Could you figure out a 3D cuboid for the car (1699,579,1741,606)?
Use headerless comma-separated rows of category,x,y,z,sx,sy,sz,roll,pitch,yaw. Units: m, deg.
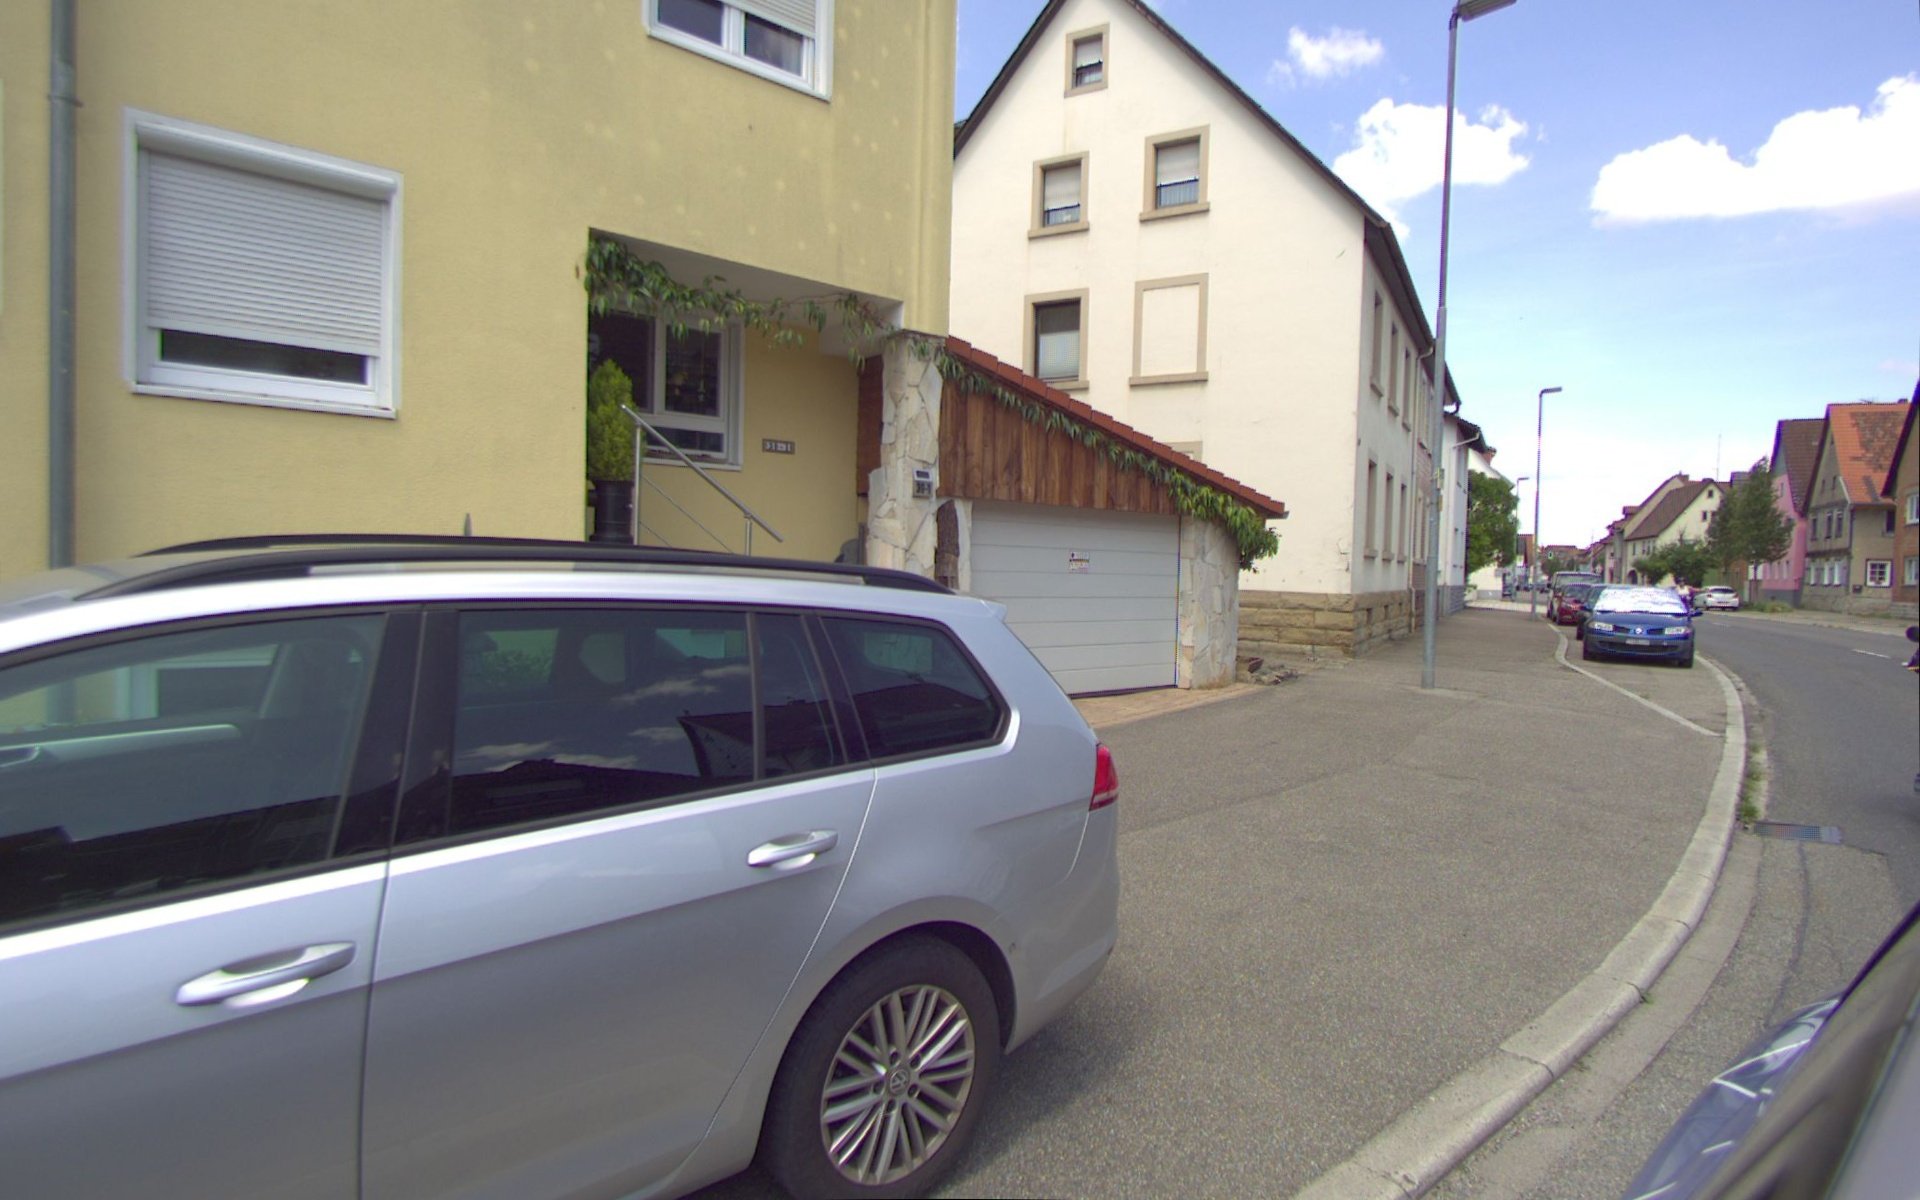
car,46.113,-0.476,61.424,1.671,1.549,3.461,0,2,31

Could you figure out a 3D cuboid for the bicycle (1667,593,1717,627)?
bicycle,23.148,0.322,31.996,1.892,1.024,0.932,1,0,-44

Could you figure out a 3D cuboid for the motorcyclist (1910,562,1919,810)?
motorcyclist,6.832,0.562,6.415,0.784,1.619,1.002,-2,2,-31

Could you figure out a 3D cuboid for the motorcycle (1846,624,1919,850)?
motorcycle,6.431,0.790,6.165,2.062,1.257,0.986,0,0,-32

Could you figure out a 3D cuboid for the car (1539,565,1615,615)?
car,21.967,-0.372,36.157,1.646,1.668,3.971,0,1,22

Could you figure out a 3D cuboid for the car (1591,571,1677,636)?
car,17.770,0.101,26.811,1.761,1.549,3.953,2,0,32

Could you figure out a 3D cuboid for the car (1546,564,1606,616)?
car,25.053,-0.454,41.295,1.915,1.939,5.193,0,2,29

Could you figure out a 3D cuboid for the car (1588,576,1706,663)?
car,13.515,0.298,19.867,1.718,1.402,3.950,3,4,36

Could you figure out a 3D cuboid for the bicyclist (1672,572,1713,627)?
bicyclist,23.153,-0.033,31.996,0.748,1.709,0.908,-2,2,-42

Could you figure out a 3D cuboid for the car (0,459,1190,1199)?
car,-1.642,0.526,2.117,4.258,1.548,1.890,-1,5,-40
